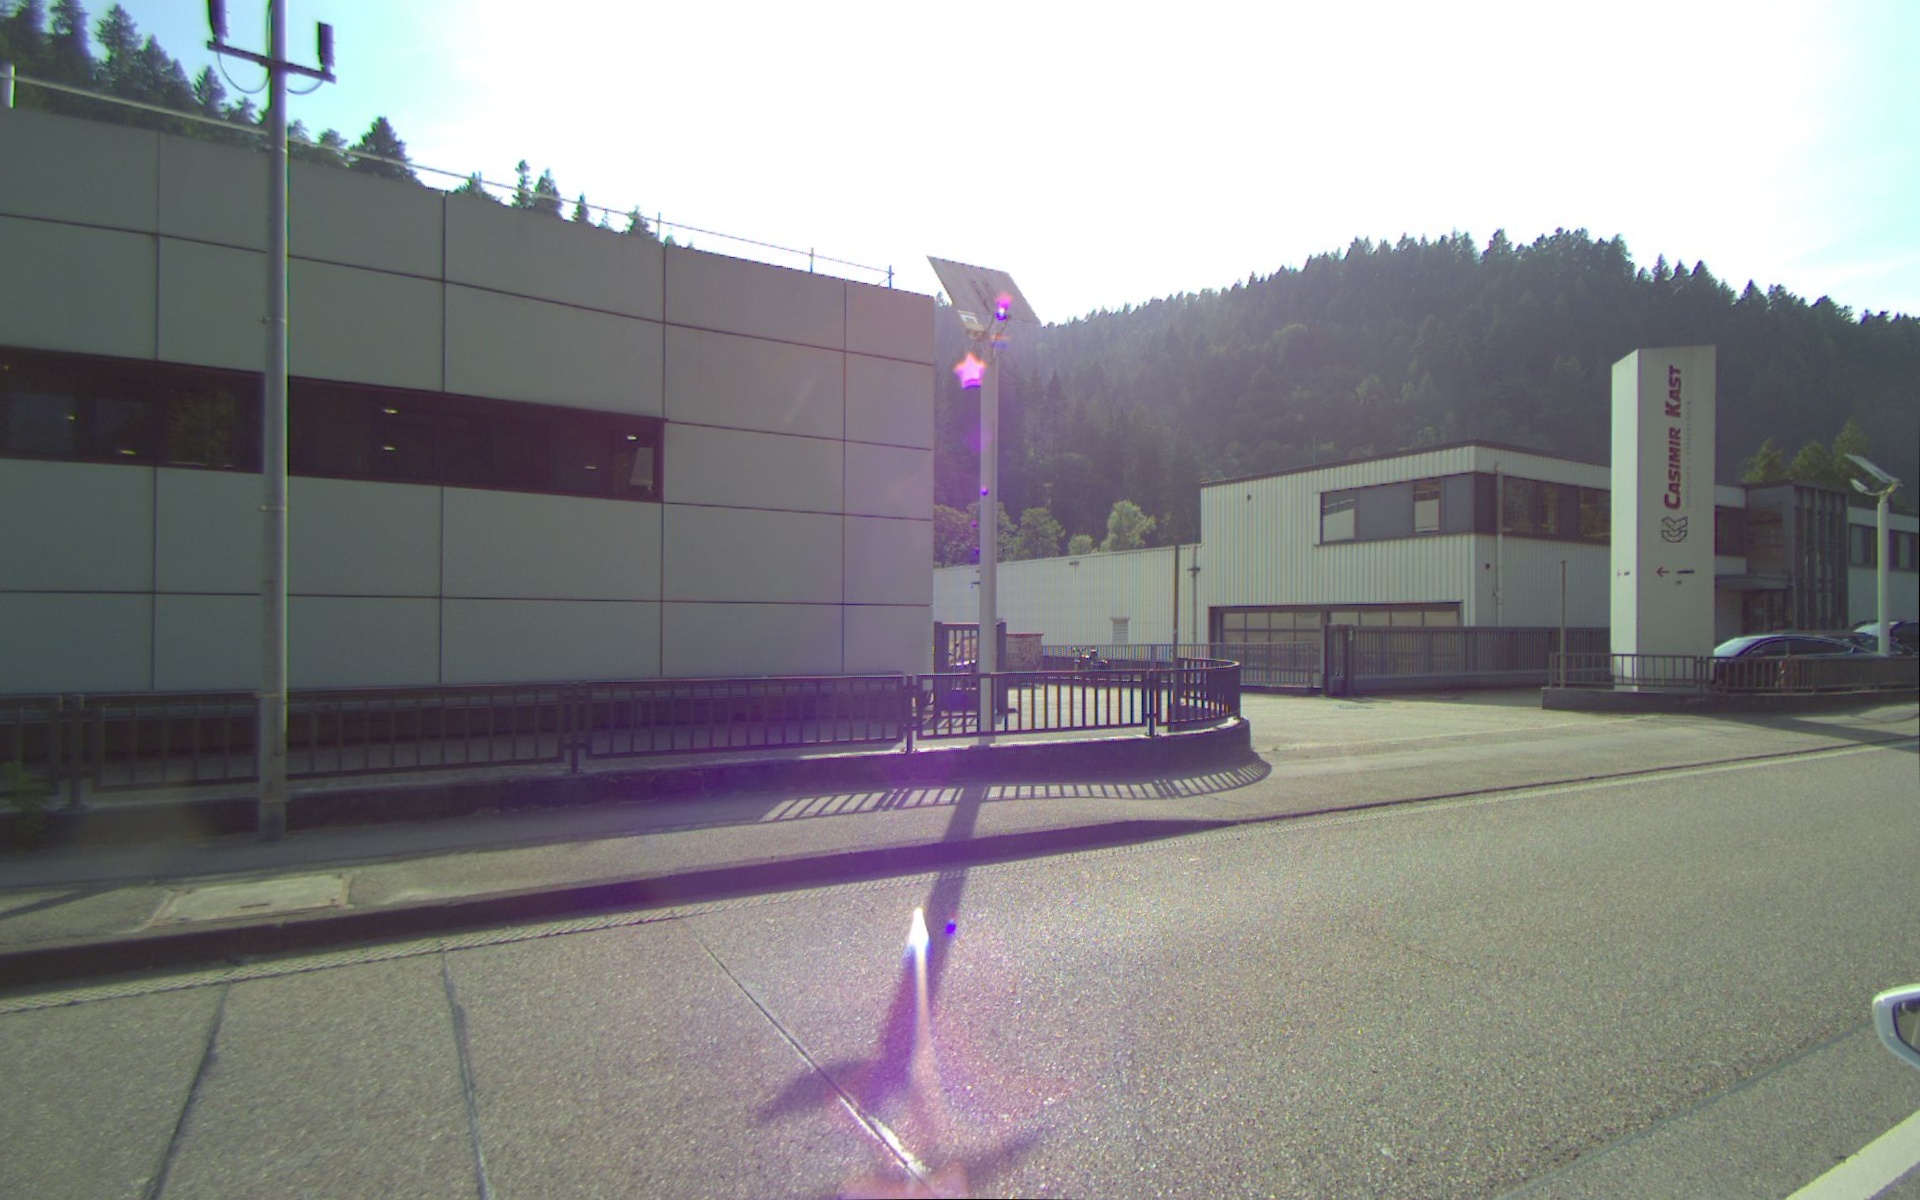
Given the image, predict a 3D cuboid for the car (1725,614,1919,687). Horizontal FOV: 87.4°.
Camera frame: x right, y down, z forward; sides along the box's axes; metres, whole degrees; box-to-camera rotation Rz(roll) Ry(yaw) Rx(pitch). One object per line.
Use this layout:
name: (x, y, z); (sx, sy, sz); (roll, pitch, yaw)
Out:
car: (22.453, 1.244, 25.423); (4.596, 1.765, 2.001); (0, -1, 3)

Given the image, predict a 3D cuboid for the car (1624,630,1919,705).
car: (16.358, 1.331, 20.406); (4.641, 1.393, 1.712); (1, -1, 0)

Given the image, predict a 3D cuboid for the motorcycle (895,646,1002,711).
motorcycle: (-0.201, 1.472, 19.151); (2.064, 1.168, 0.510); (1, -2, -30)

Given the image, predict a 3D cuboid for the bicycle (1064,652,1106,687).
bicycle: (3.690, 2.032, 29.768); (0.283, 0.990, 1.671); (1, -2, -29)

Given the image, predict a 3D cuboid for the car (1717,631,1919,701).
car: (19.964, 1.470, 22.581); (4.641, 1.458, 1.712); (1, -1, 0)

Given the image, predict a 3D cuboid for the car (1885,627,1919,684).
car: (29.265, 1.629, 28.324); (4.761, 1.582, 1.998); (2, -1, -5)
